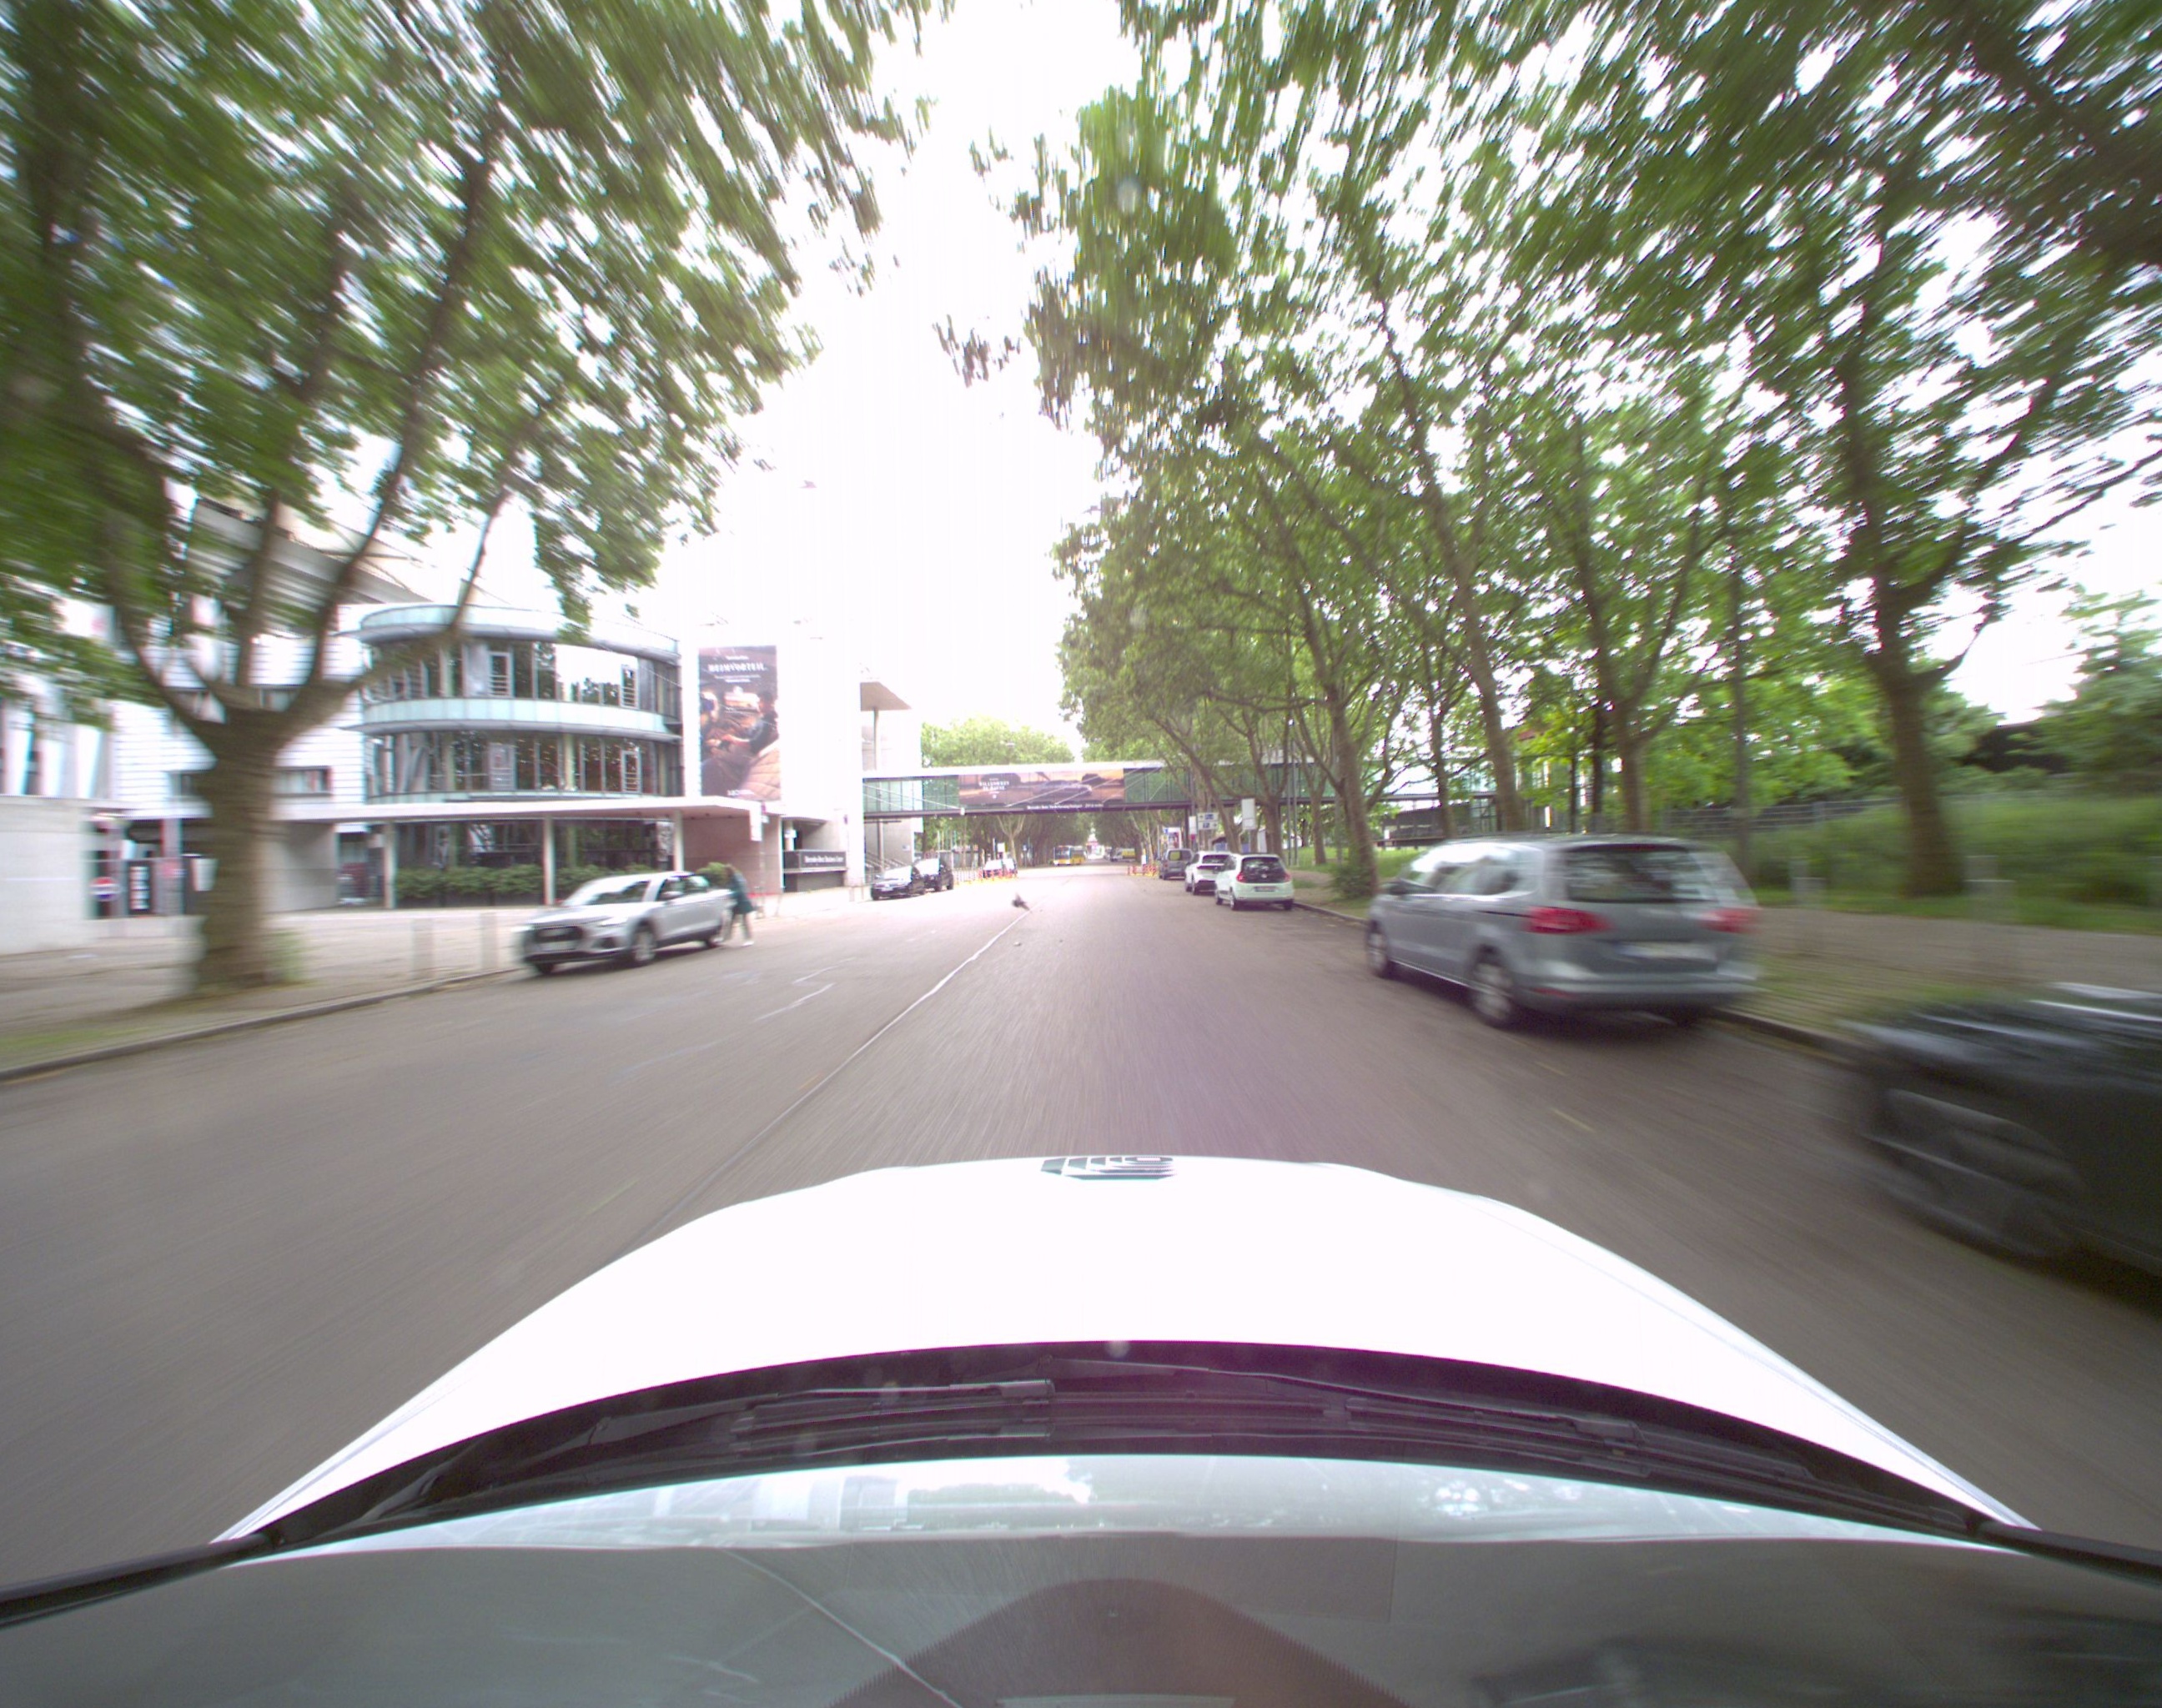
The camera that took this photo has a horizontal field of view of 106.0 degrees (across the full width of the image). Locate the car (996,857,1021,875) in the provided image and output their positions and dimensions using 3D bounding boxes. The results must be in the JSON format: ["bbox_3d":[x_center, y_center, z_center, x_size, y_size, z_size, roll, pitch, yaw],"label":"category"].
[{"bbox_3d":[-7.219,1.188,81.482,1.986,1.584,4.114,-5,0,1],"label":"car"}]

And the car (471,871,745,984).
[{"bbox_3d":[-8.240,1.174,14.871,2.066,1.563,4.758,-2,0,2],"label":"car"}]

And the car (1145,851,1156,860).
[{"bbox_3d":[14.329,0.314,168.235,1.986,1.772,4.001,-2,0,1],"label":"car"}]

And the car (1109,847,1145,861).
[{"bbox_3d":[8.889,0.004,157.797,6.803,2.513,2.315,-2,0,-1],"label":"car"}]

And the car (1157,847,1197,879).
[{"bbox_3d":[5.557,0.497,47.788,1.840,1.783,5.212,-1,0,1],"label":"car"}]

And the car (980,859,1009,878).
[{"bbox_3d":[-7.655,1.234,72.524,1.851,1.453,4.450,-5,0,1],"label":"car"}]

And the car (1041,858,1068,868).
[{"bbox_3d":[-4.872,1.620,148.147,4.682,1.584,1.865,-2,0,2],"label":"car"}]

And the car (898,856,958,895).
[{"bbox_3d":[-8.107,1.114,43.718,2.027,1.789,4.909,-5,0,2],"label":"car"}]

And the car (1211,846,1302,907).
[{"bbox_3d":[4.913,0.598,23.381,1.801,1.526,4.097,-2,0,1],"label":"car"}]

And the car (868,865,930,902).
[{"bbox_3d":[-8.388,1.325,37.853,1.698,1.419,4.326,-4,0,2],"label":"car"}]

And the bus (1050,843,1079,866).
[{"bbox_3d":[-2.539,0.076,129.078,3.024,3.160,12.695,-4,0,5],"label":"bus"}]

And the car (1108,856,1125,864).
[{"bbox_3d":[8.480,1.344,196.486,3.974,1.794,1.543,-2,-1,0],"label":"car"}]

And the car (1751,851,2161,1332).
[{"bbox_3d":[4.214,0.731,1.798,1.870,1.427,4.481,-2,0,2],"label":"car"}]

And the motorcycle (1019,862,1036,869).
[{"bbox_3d":[-8.529,1.816,129.543,2.603,1.123,0.698,-2,-1,-23],"label":"motorcycle"}]

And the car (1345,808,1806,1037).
[{"bbox_3d":[4.525,0.535,8.562,1.975,1.680,4.731,-2,0,0],"label":"car"}]

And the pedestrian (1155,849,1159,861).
[{"bbox_3d":[11.962,0.128,128.088,0.572,1.888,0.615,-2,-1,-8],"label":"pedestrian"}]

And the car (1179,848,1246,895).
[{"bbox_3d":[4.970,0.636,31.341,1.907,1.618,4.750,-2,0,2],"label":"car"}]

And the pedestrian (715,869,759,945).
[{"bbox_3d":[-6.842,1.046,16.205,0.581,1.466,0.568,-1,0,4],"label":"pedestrian"}]

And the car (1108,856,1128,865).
[{"bbox_3d":[7.422,1.276,165.259,3.974,1.794,1.543,-2,-1,0],"label":"car"}]
